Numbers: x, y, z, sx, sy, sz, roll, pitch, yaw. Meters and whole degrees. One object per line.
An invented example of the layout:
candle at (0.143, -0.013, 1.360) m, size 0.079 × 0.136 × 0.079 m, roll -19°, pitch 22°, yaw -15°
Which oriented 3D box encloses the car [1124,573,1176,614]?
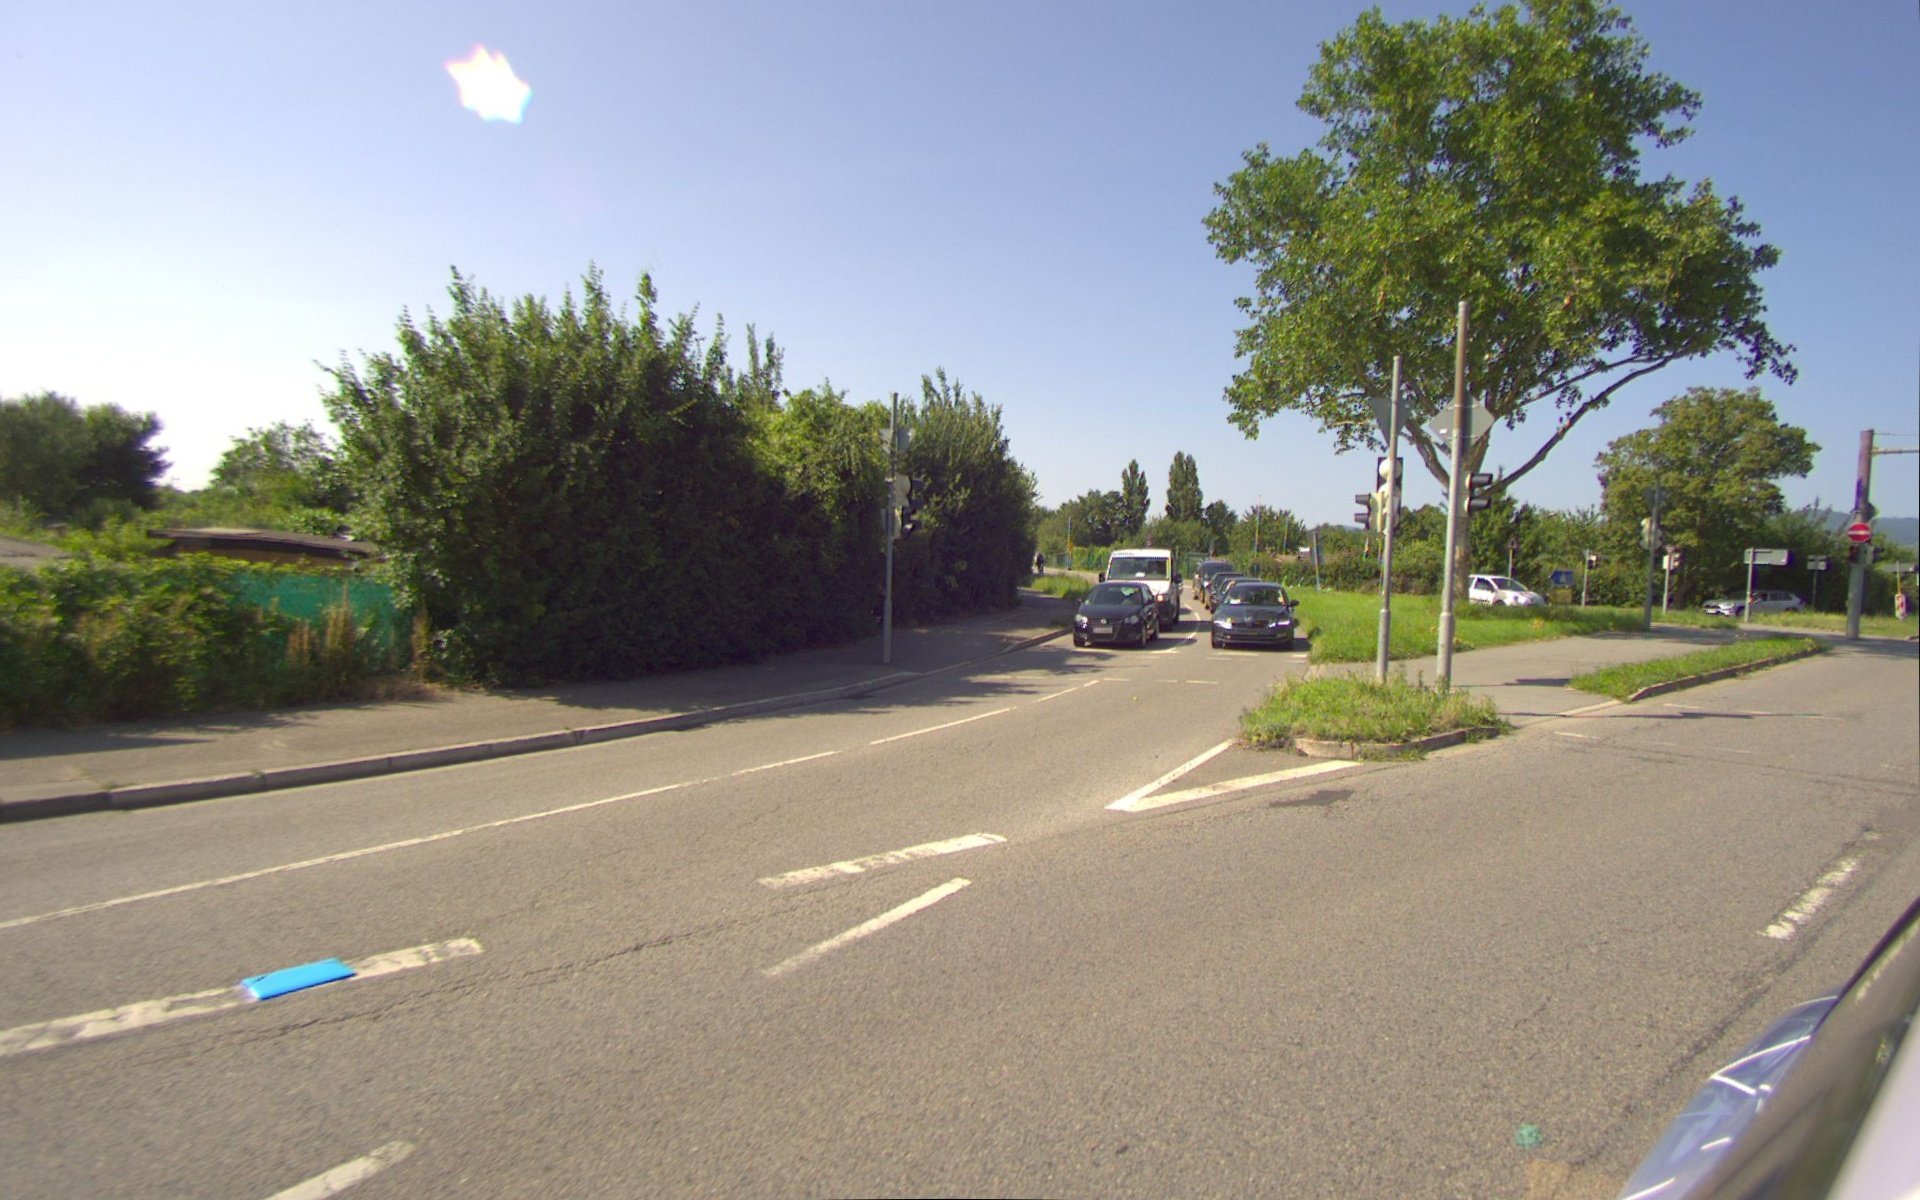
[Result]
car at (7.285, -0.295, 38.863) m, size 1.860 × 1.437 × 3.989 m, roll 1°, pitch 2°, yaw 10°

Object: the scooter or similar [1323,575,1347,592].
scooter or similar at (25.219, -1.124, 68.048) m, size 1.373 × 1.131 × 0.495 m, roll 3°, pitch 2°, yaw 32°

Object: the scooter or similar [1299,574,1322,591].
scooter or similar at (23.869, -1.193, 68.929) m, size 1.380 × 1.131 × 0.492 m, roll 3°, pitch 2°, yaw 44°

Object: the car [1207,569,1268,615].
car at (10.508, -0.349, 38.577) m, size 1.857 × 1.655 × 4.456 m, roll 1°, pitch 2°, yaw 10°

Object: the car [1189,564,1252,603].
car at (11.576, -0.751, 45.258) m, size 1.853 × 1.655 × 4.466 m, roll 0°, pitch 2°, yaw 3°

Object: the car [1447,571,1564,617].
car at (20.303, -0.250, 37.852) m, size 1.748 × 1.487 × 3.764 m, roll 2°, pitch 2°, yaw -12°

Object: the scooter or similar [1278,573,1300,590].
scooter or similar at (22.740, -1.262, 69.972) m, size 1.380 × 1.131 × 0.492 m, roll 3°, pitch 2°, yaw 44°

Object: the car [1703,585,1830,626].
car at (39.937, 0.260, 50.209) m, size 4.595 × 1.700 × 1.909 m, roll 3°, pitch 3°, yaw 1°

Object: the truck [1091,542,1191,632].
truck at (5.601, -0.476, 30.556) m, size 2.313 × 2.415 × 6.444 m, roll 0°, pitch 2°, yaw 16°

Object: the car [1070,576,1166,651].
car at (3.803, 0.236, 23.907) m, size 1.600 × 1.566 × 3.802 m, roll 1°, pitch 2°, yaw 19°

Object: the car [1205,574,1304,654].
car at (6.967, 0.234, 23.637) m, size 1.975 × 1.566 × 4.589 m, roll 3°, pitch 3°, yaw 19°

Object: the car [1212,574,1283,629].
car at (8.971, -0.015, 31.692) m, size 1.972 × 1.547 × 4.448 m, roll 1°, pitch 2°, yaw 15°
